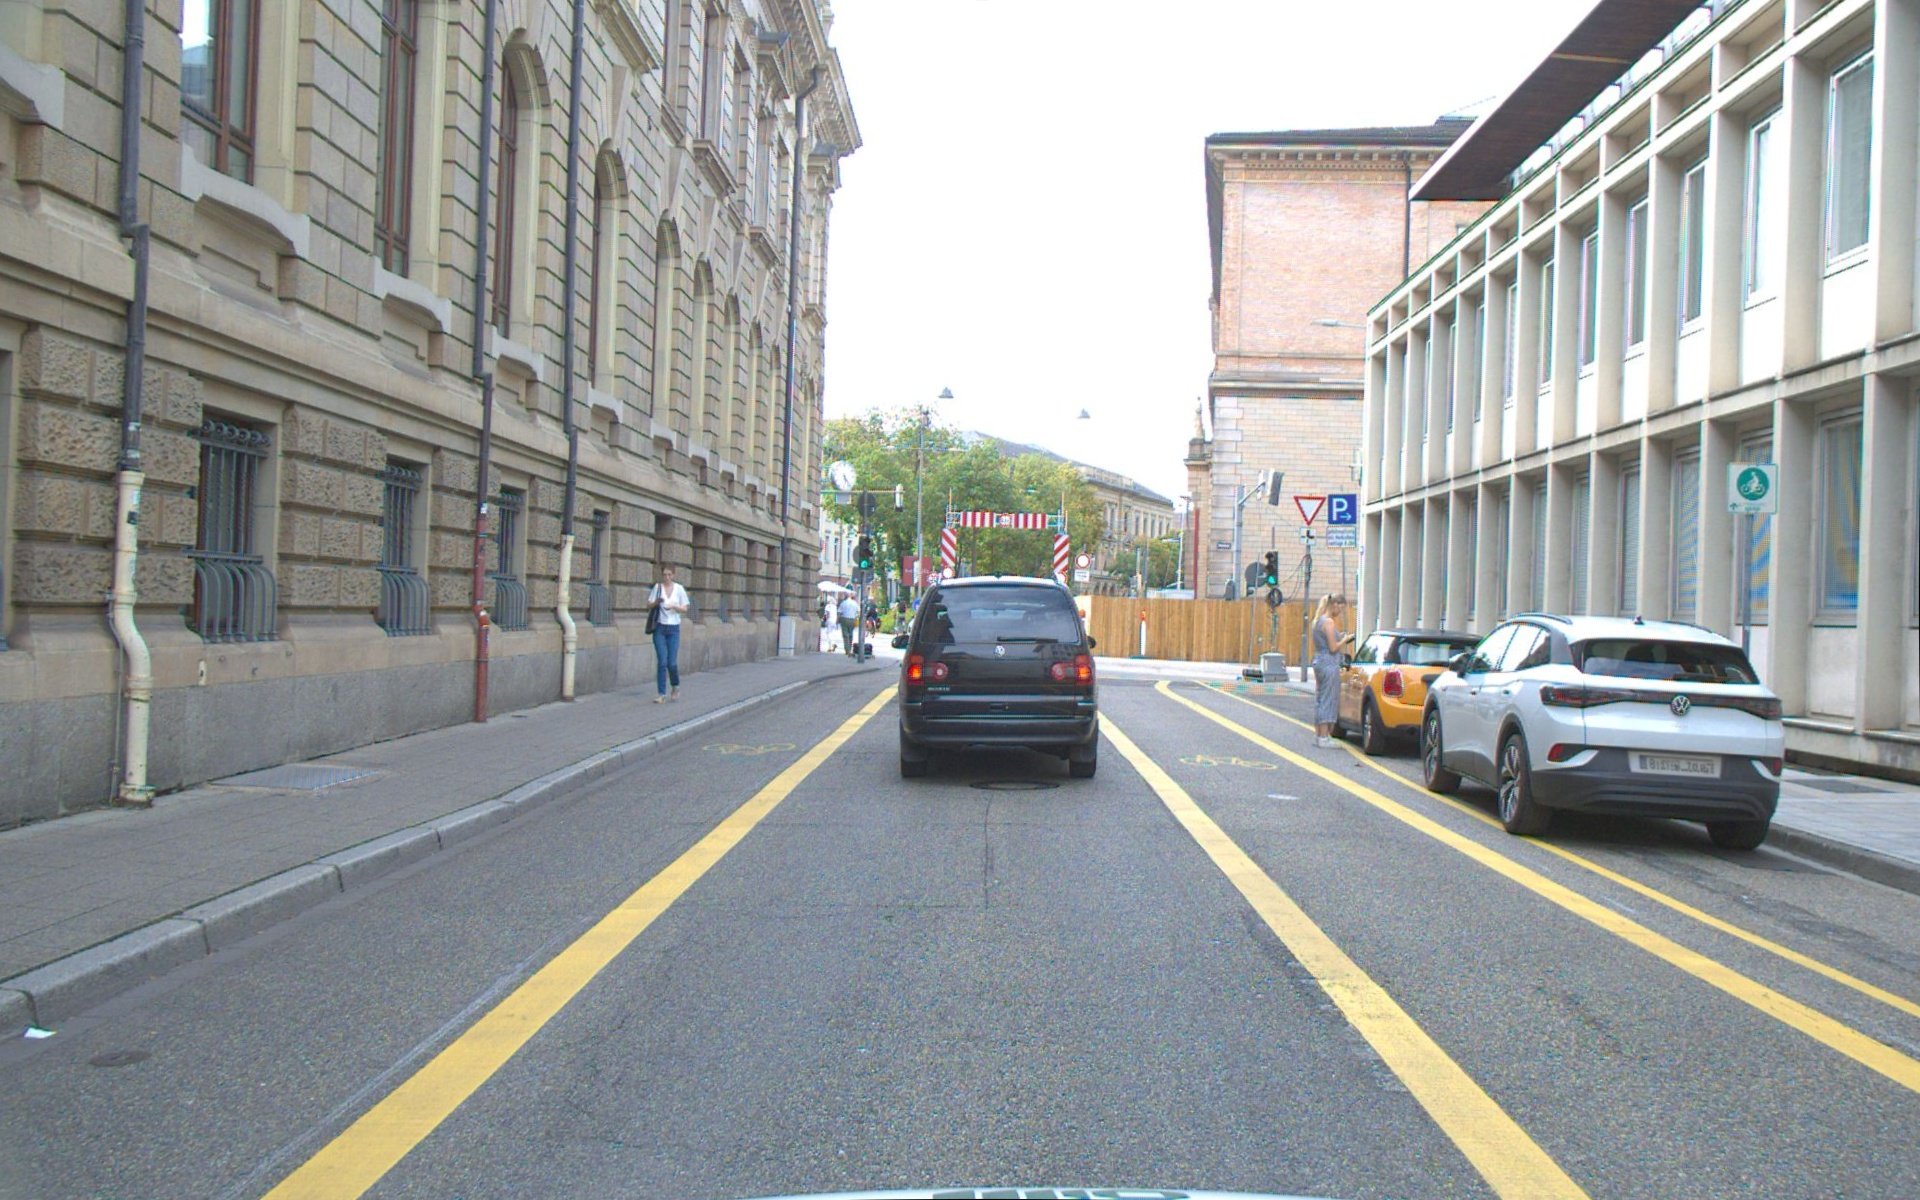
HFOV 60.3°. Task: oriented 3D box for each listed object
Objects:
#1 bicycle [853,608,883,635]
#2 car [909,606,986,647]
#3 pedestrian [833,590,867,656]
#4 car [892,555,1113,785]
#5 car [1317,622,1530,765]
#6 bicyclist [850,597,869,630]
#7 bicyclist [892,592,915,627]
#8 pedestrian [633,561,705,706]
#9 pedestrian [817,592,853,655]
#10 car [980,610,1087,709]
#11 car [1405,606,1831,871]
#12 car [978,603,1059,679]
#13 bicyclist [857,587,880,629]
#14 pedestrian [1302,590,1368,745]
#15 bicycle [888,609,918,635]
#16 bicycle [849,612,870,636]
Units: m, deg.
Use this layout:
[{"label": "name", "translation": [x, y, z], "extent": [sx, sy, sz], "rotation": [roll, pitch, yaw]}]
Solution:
[{"label": "bicycle", "translation": [-3.720, 0.866, 66.552], "extent": [0.723, 1.026, 2.058], "rotation": [2, -1, -17]}, {"label": "car", "translation": [-0.470, 0.890, 57.471], "extent": [1.624, 1.344, 3.655], "rotation": [2, -1, -19]}, {"label": "pedestrian", "translation": [-3.176, 0.668, 47.905], "extent": [0.776, 1.851, 1.048], "rotation": [3, -1, 1]}, {"label": "car", "translation": [0.477, 0.600, 15.599], "extent": [1.752, 1.821, 4.105], "rotation": [2, -1, 4]}, {"label": "car", "translation": [5.490, 1.052, 20.035], "extent": [1.645, 1.460, 3.888], "rotation": [3, -1, 4]}, {"label": "bicyclist", "translation": [-4.587, 0.606, 75.532], "extent": [0.721, 1.495, 0.807], "rotation": [2, -1, -10]}, {"label": "bicyclist", "translation": [-2.299, 0.398, 67.282], "extent": [0.723, 1.399, 0.828], "rotation": [2, -1, -16]}, {"label": "pedestrian", "translation": [-3.874, 0.438, 22.080], "extent": [0.650, 1.851, 1.048], "rotation": [3, -1, 1]}, {"label": "pedestrian", "translation": [-3.803, 0.713, 50.136], "extent": [0.780, 1.851, 1.043], "rotation": [4, -1, -18]}, {"label": "car", "translation": [1.234, 0.961, 28.037], "extent": [1.643, 1.495, 4.104], "rotation": [2, -1, 2]}, {"label": "car", "translation": [5.062, 0.966, 13.460], "extent": [1.822, 1.633, 4.514], "rotation": [5, -1, 4]}, {"label": "car", "translation": [1.305, 0.919, 38.040], "extent": [1.736, 1.613, 4.000], "rotation": [1, -1, 1]}, {"label": "bicyclist", "translation": [-3.681, 0.324, 66.491], "extent": [0.723, 1.640, 0.691], "rotation": [2, -1, -18]}, {"label": "pedestrian", "translation": [4.453, 0.794, 19.684], "extent": [0.683, 1.794, 0.706], "rotation": [1, -1, 9]}, {"label": "bicycle", "translation": [-2.320, 0.899, 67.318], "extent": [0.723, 1.026, 2.059], "rotation": [2, -1, -16]}, {"label": "bicycle", "translation": [-4.605, 1.093, 75.533], "extent": [0.721, 1.026, 2.064], "rotation": [2, -1, -9]}]
